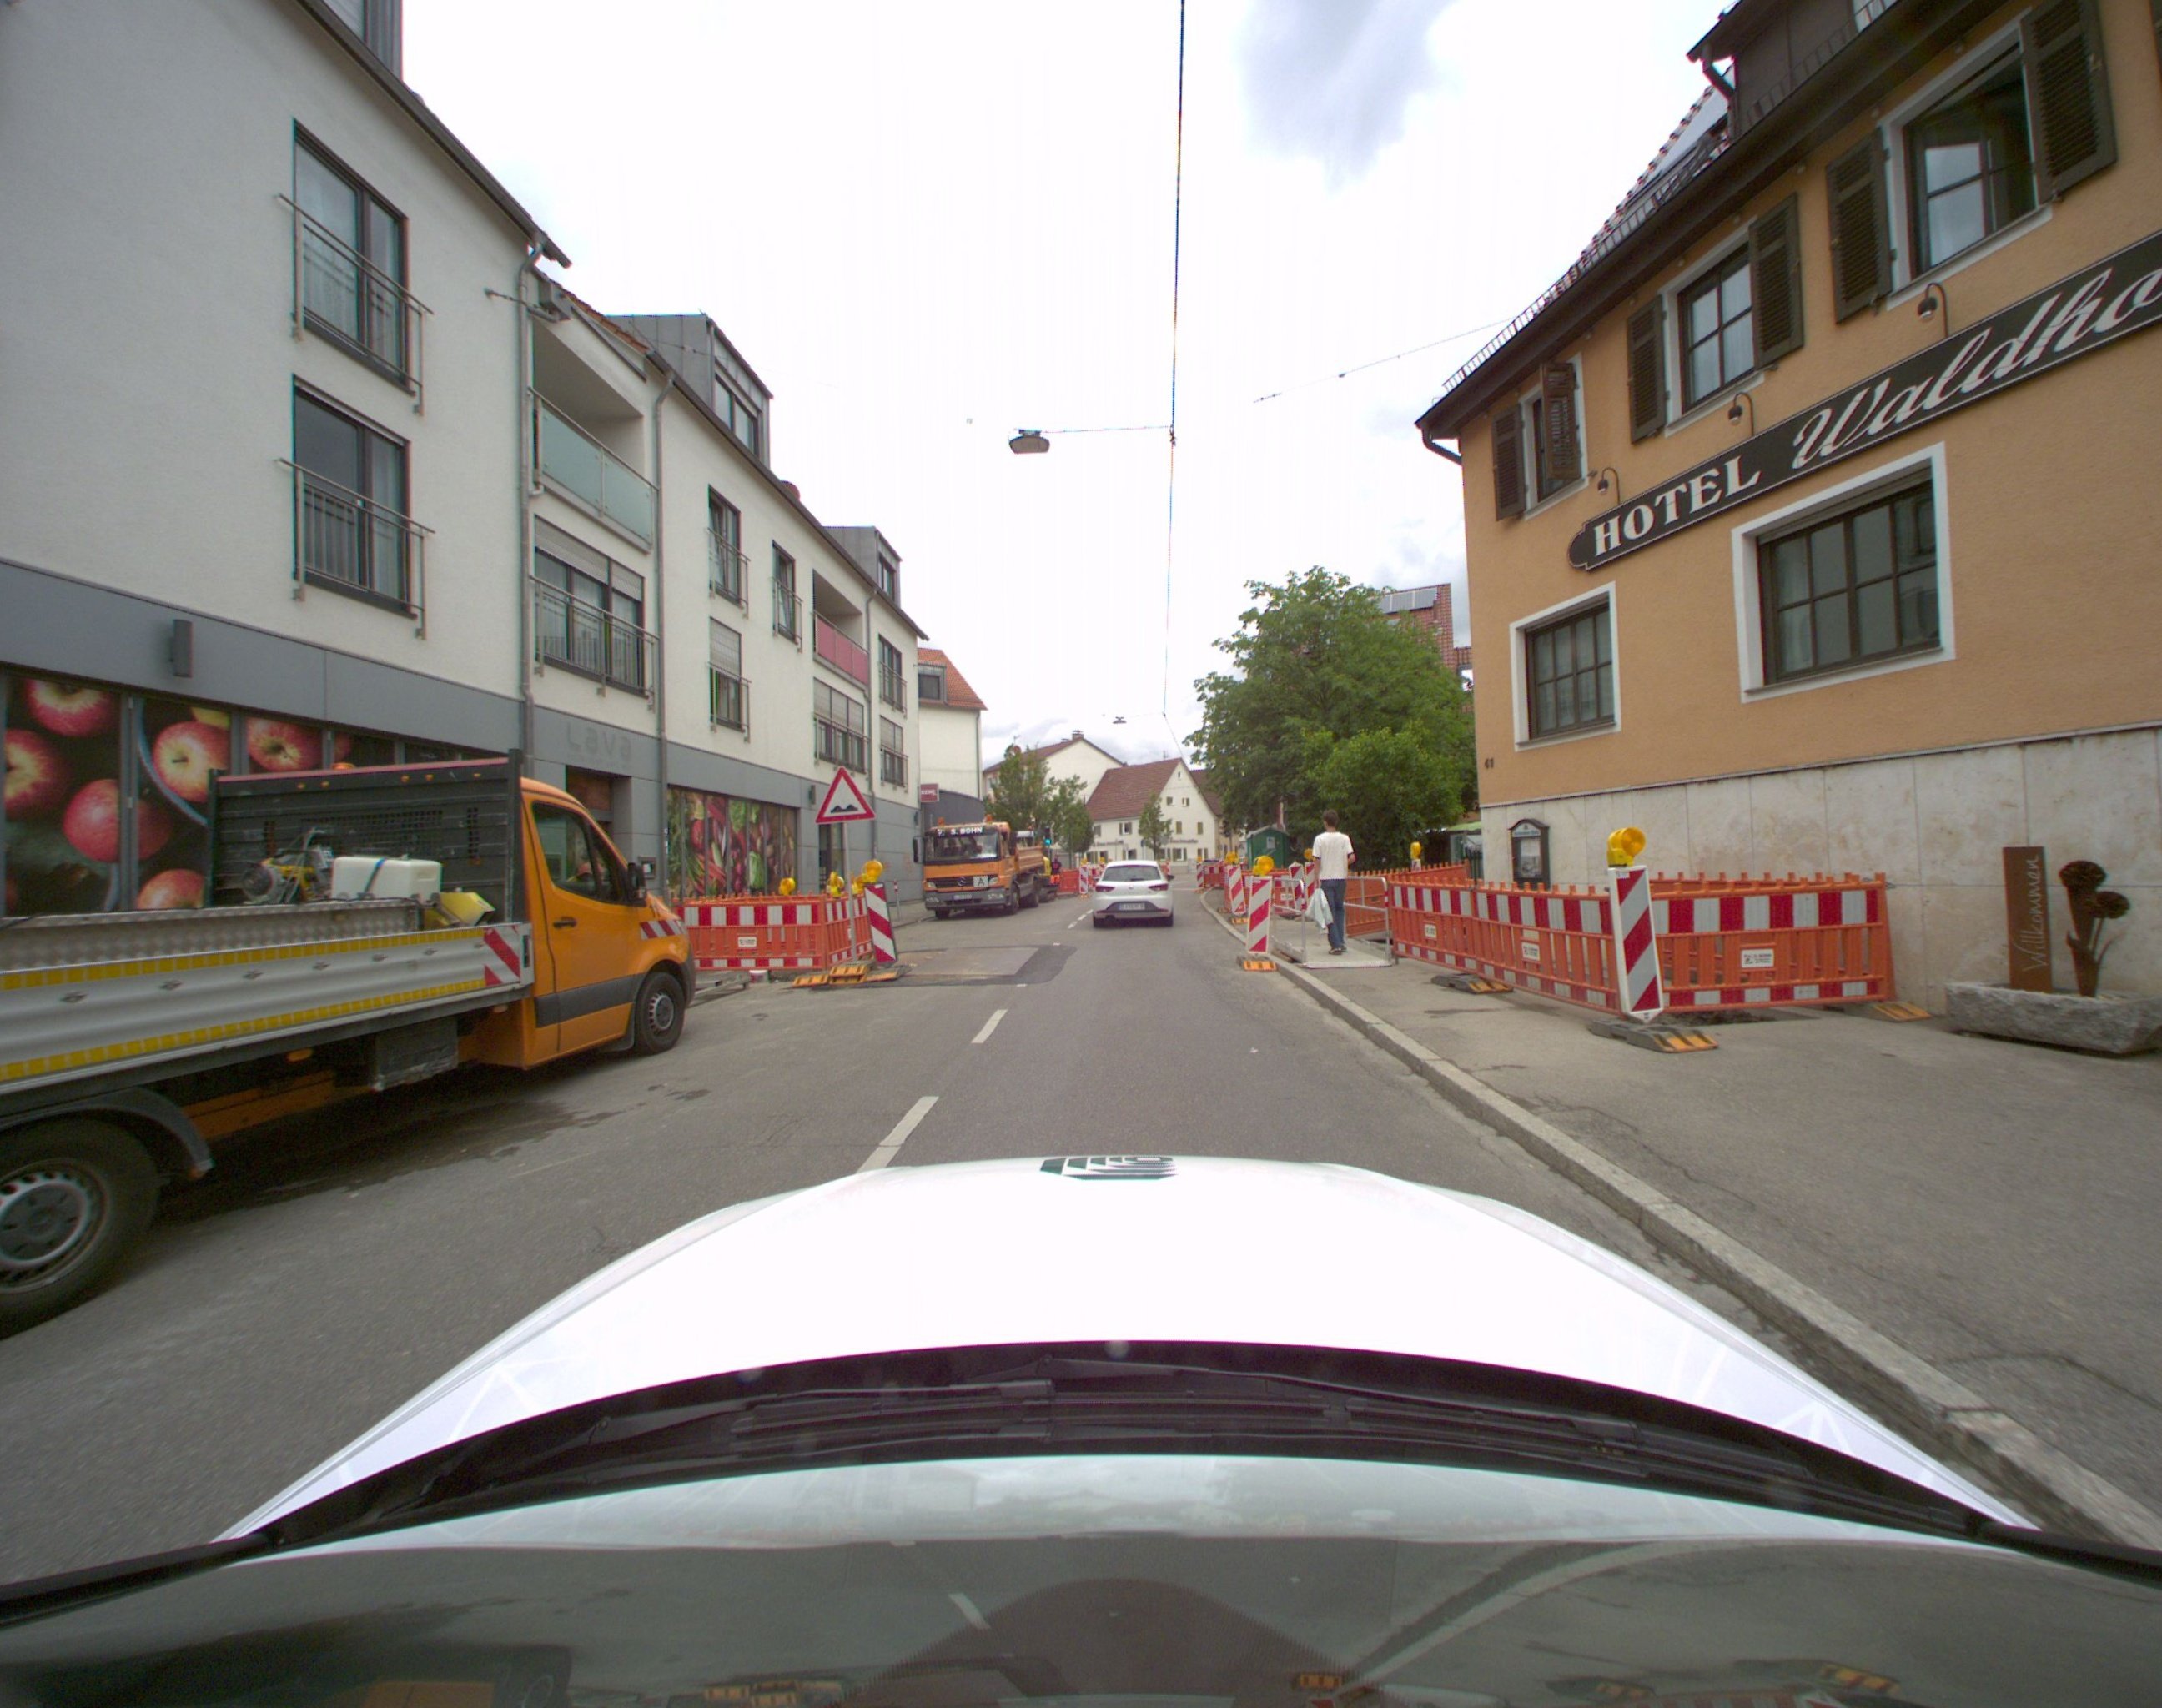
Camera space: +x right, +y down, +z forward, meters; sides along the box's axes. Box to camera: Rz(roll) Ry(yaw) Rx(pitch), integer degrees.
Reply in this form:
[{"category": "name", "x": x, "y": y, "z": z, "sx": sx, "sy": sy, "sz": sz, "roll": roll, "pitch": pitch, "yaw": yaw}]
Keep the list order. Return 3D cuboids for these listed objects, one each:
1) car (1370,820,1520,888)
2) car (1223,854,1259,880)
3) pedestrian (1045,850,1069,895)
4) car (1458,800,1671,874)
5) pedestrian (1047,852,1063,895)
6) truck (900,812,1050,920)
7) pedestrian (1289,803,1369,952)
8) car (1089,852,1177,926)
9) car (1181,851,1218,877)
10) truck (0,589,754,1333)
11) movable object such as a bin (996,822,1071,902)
[{"category": "car", "x": 11.905, "y": 0.044, "z": 26.703, "sx": 4.172, "sy": 2.033, "sz": 2.013, "roll": -2, "pitch": -1, "yaw": 33}, {"category": "car", "x": 13.023, "y": 1.049, "z": 66.192, "sx": 1.976, "sy": 2.014, "sz": 4.022, "roll": -2, "pitch": -1, "yaw": 23}, {"category": "pedestrian", "x": -1.015, "y": 0.760, "z": 34.070, "sx": 0.809, "sy": 1.816, "sz": 0.745, "roll": -2, "pitch": -1, "yaw": 10}, {"category": "car", "x": 11.293, "y": -0.383, "z": 19.216, "sx": 3.975, "sy": 1.563, "sz": 1.747, "roll": -1, "pitch": -1, "yaw": -1}, {"category": "pedestrian", "x": -1.074, "y": 0.812, "z": 34.049, "sx": 0.534, "sy": 1.744, "sz": 0.445, "roll": -2, "pitch": -1, "yaw": 11}, {"category": "truck", "x": -2.914, "y": 0.295, "z": 24.609, "sx": 2.716, "sy": 2.725, "sz": 6.862, "roll": -2, "pitch": 0, "yaw": 7}, {"category": "pedestrian", "x": 3.415, "y": 0.310, "z": 11.290, "sx": 0.795, "sy": 1.950, "sz": 0.836, "roll": -3, "pitch": 0, "yaw": 1}, {"category": "car", "x": 1.201, "y": 0.726, "z": 18.775, "sx": 1.803, "sy": 1.481, "sz": 3.874, "roll": -1, "pitch": 0, "yaw": 4}, {"category": "car", "x": 7.475, "y": 0.604, "z": 51.115, "sx": 1.798, "sy": 1.480, "sz": 3.886, "roll": -2, "pitch": 0, "yaw": 15}, {"category": "truck", "x": -4.660, "y": 0.381, "z": 4.893, "sx": 2.403, "sy": 2.465, "sz": 6.314, "roll": -3, "pitch": 0, "yaw": 3}, {"category": "movable object such as a bin", "x": -1.711, "y": 0.324, "z": 30.900, "sx": 1.828, "sy": 2.764, "sz": 4.516, "roll": -2, "pitch": -2, "yaw": 9}]
